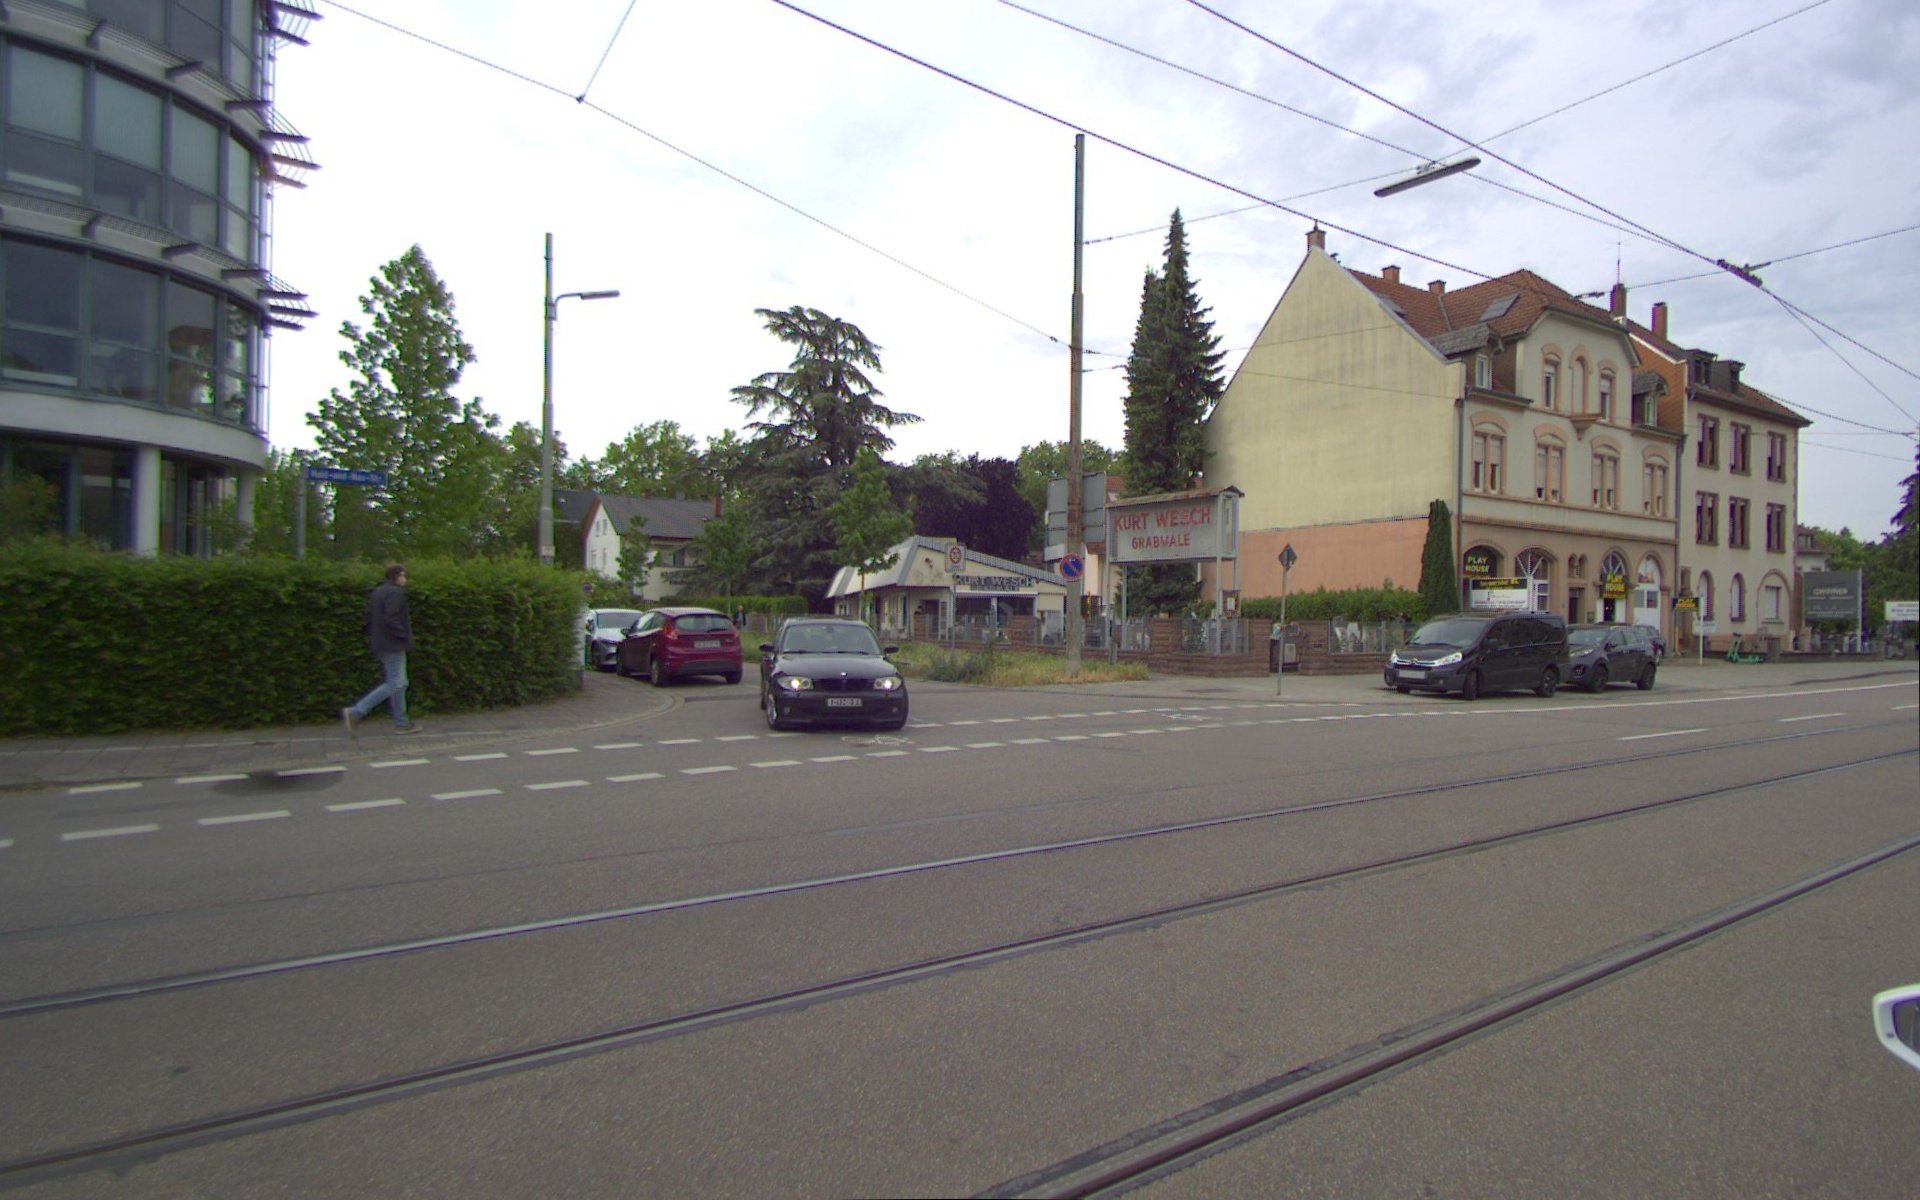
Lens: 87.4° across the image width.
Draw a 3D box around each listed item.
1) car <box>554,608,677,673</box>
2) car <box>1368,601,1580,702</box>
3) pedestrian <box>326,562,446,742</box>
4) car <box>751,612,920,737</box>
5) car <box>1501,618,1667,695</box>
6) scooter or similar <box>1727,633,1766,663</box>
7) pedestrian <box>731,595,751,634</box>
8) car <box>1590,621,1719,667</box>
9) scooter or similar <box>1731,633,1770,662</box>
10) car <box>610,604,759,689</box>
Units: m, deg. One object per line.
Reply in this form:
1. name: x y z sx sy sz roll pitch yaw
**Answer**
1. car: -8.295 0.924 23.982 1.761 1.367 4.009 2 -1 -34
2. car: 11.832 1.145 23.009 5.129 2.040 1.975 2 1 -33
3. pedestrian: -6.221 0.545 10.920 1.047 1.849 0.800 2 0 -30
4. car: -1.868 0.915 13.847 1.758 1.387 4.100 2 0 -15
5. car: 16.456 1.417 26.450 4.487 1.773 2.024 1 1 -34
6. scooter or similar: 31.583 1.924 40.341 1.157 1.116 0.527 2 0 30
7. pedestrian: -10.311 0.689 47.256 0.752 1.798 0.631 2 0 -28
8. car: 24.587 1.548 35.519 4.848 1.512 1.983 2 -1 -32
9. scooter or similar: 32.183 1.945 40.923 1.157 1.116 0.527 2 0 30
10. car: -5.506 0.826 19.745 1.707 1.441 3.983 -1 1 -33
